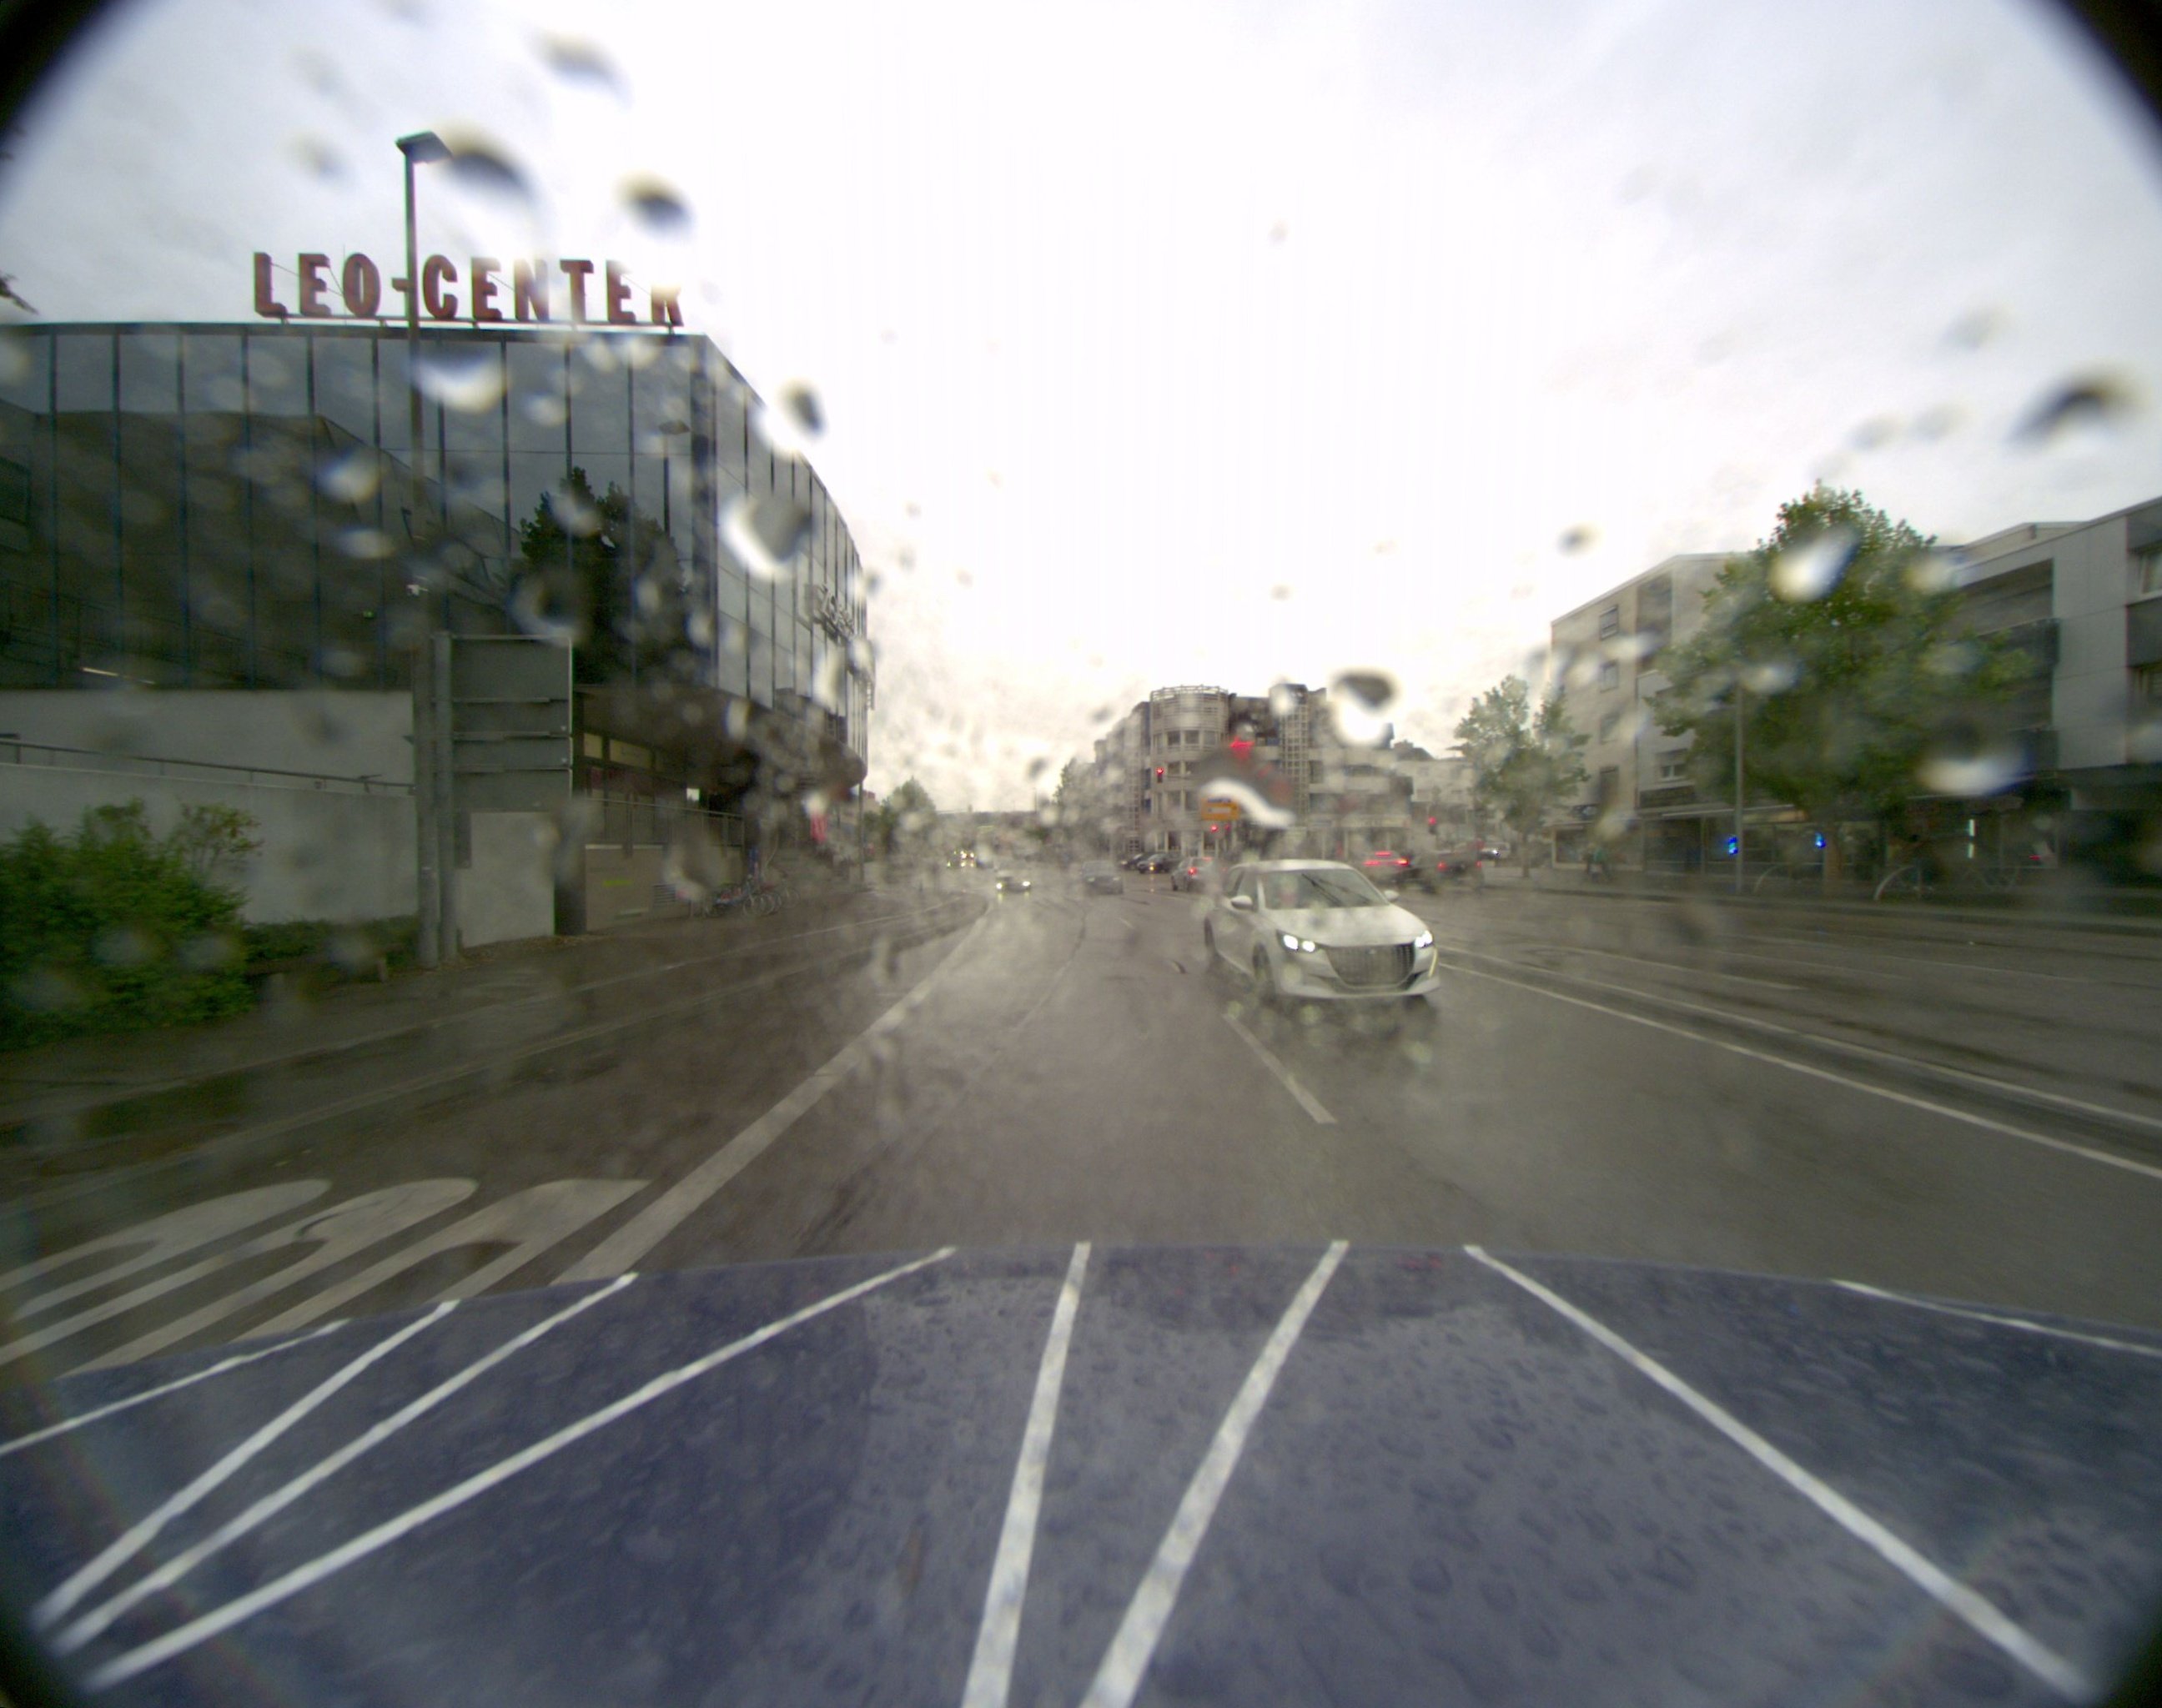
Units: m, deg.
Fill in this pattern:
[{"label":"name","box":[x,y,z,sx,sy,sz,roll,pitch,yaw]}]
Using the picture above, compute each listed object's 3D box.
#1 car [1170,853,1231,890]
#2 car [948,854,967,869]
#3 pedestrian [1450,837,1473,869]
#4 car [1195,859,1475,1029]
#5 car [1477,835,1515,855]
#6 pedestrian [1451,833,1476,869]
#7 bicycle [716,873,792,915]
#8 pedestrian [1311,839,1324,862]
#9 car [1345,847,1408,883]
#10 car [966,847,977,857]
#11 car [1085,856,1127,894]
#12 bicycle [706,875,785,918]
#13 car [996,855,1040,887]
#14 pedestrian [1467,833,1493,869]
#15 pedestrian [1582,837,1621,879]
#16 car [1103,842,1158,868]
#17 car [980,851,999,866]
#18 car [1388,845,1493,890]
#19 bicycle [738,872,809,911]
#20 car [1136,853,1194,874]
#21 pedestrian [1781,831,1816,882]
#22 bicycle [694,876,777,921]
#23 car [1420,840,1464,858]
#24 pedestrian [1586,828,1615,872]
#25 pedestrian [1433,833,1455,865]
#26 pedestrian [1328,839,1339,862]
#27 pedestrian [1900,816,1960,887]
[{"label":"car","box":[5.109,0.726,32.958,1.762,1.442,3.999,-1,0,-4]},{"label":"car","box":[-13.159,0.780,81.062,1.901,1.517,3.997,-1,0,-8]},{"label":"pedestrian","box":[23.422,-0.055,46.810,0.905,1.904,0.978,-1,1,2]},{"label":"car","box":[2.635,0.838,8.918,1.877,1.453,3.872,-2,0,-2]},{"label":"car","box":[43.854,-0.947,80.248,4.607,2.002,1.994,-2,1,-40]},{"label":"pedestrian","box":[21.515,-0.184,42.774,0.905,2.002,0.978,-1,1,2]},{"label":"bicycle","box":[-9.078,1.115,21.126,1.814,1.104,0.694,1,0,0]},{"label":"pedestrian","box":[18.426,-0.290,59.220,0.838,1.733,0.585,-2,1,8]},{"label":"car","box":[12.933,0.423,33.564,1.760,1.418,4.891,-1,1,11]},{"label":"car","box":[-17.539,-0.342,122.103,1.584,1.630,3.638,-1,1,-7]},{"label":"car","box":[1.094,0.866,33.070,1.676,1.534,3.914,-1,0,2]},{"label":"bicycle","box":[-8.975,1.139,20.390,1.805,1.079,0.684,1,2,0]},{"label":"car","box":[-3.256,0.869,40.141,1.761,1.540,4.327,-2,0,2]},{"label":"pedestrian","box":[22.617,-0.152,43.090,0.905,2.002,0.978,-1,1,2]},{"label":"pedestrian","box":[20.771,0.159,30.336,1.009,1.636,0.727,-2,1,2]},{"label":"car","box":[4.062,0.056,62.659,4.192,2.002,1.794,-1,1,-11]},{"label":"car","box":[-9.733,0.434,80.520,1.901,1.517,3.997,-1,0,-8]},{"label":"car","box":[12.377,0.445,26.444,1.762,1.418,4.000,-1,0,0]},{"label":"bicycle","box":[-9.135,1.116,22.601,1.834,1.104,0.694,1,1,0]},{"label":"car","box":[6.164,0.673,55.640,3.843,1.481,1.631,-1,0,-20]},{"label":"pedestrian","box":[24.678,0.079,26.146,0.549,1.740,0.681,-1,1,4]},{"label":"bicycle","box":[-8.892,1.145,19.587,1.814,1.104,0.694,1,0,0]},{"label":"car","box":[37.320,-0.539,78.555,3.898,1.710,1.745,-1,1,-16]},{"label":"pedestrian","box":[24.329,-0.172,35.596,0.760,2.002,0.864,-1,1,1]},{"label":"pedestrian","box":[22.448,-0.314,47.042,0.905,1.904,0.978,-1,1,2]},{"label":"pedestrian","box":[19.859,-0.284,59.818,0.682,1.733,0.586,-1,1,28]},{"label":"pedestrian","box":[24.435,-0.076,21.886,0.760,2.002,0.864,-1,1,5]}]
